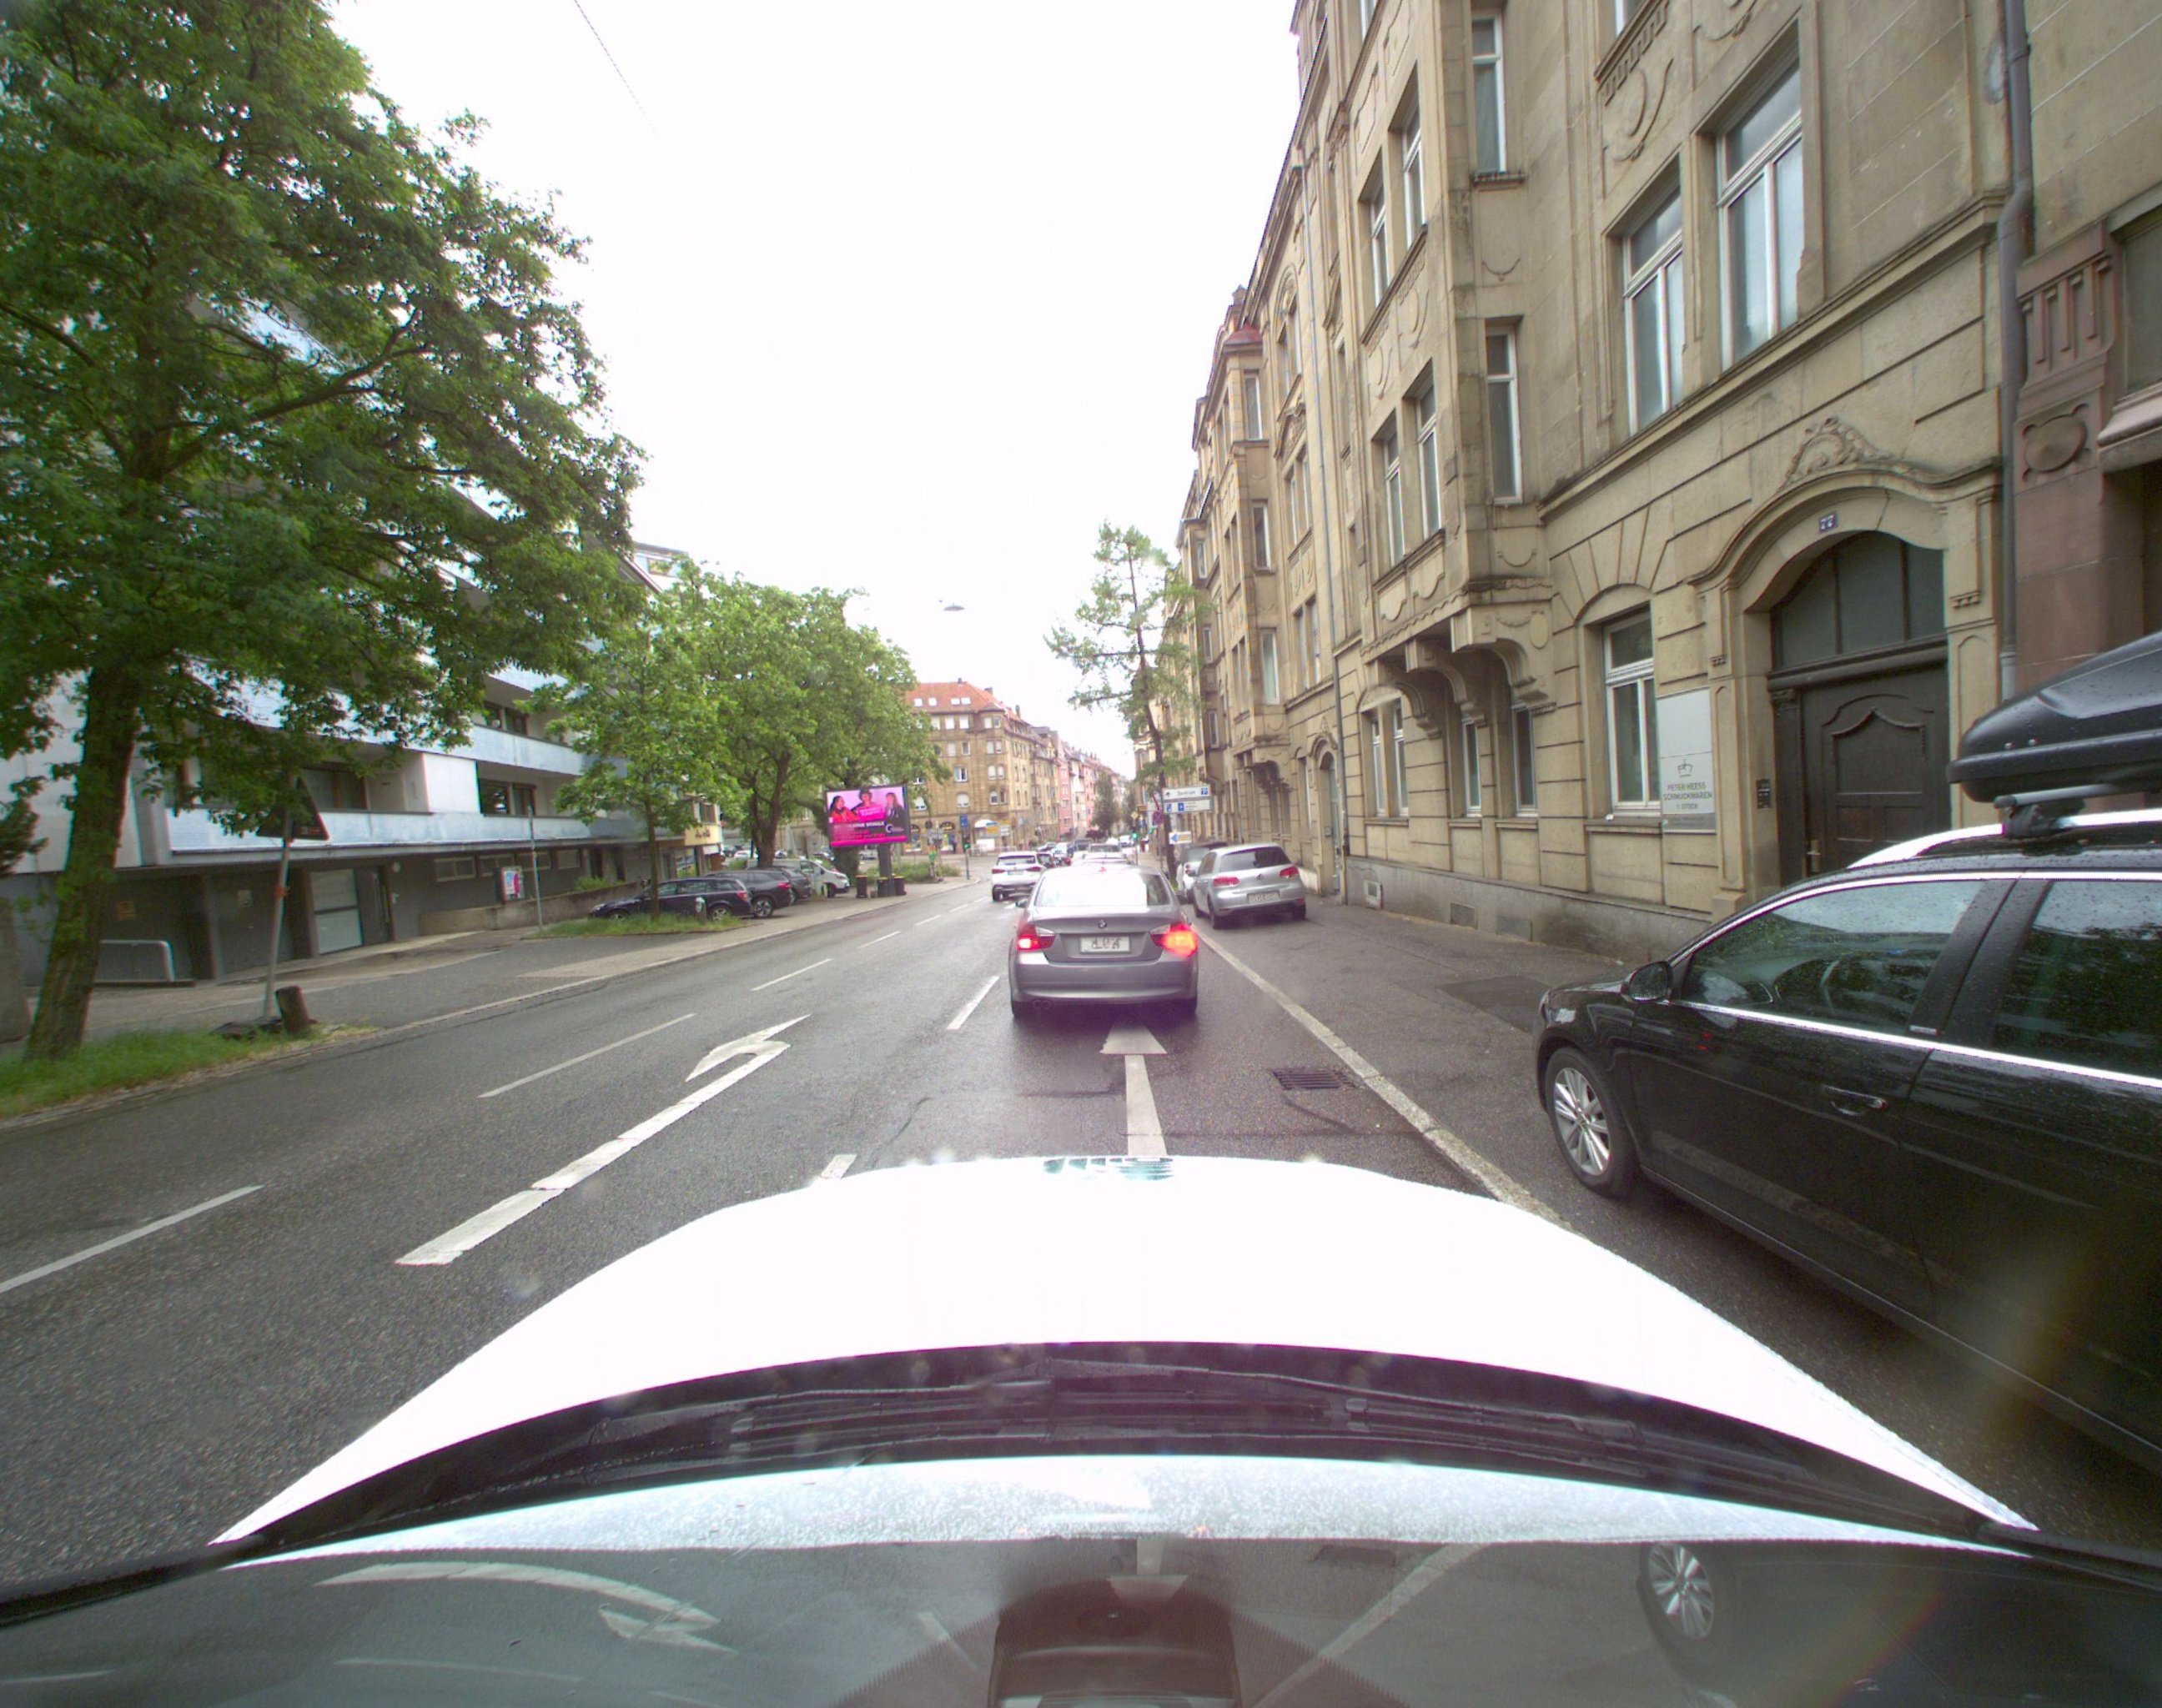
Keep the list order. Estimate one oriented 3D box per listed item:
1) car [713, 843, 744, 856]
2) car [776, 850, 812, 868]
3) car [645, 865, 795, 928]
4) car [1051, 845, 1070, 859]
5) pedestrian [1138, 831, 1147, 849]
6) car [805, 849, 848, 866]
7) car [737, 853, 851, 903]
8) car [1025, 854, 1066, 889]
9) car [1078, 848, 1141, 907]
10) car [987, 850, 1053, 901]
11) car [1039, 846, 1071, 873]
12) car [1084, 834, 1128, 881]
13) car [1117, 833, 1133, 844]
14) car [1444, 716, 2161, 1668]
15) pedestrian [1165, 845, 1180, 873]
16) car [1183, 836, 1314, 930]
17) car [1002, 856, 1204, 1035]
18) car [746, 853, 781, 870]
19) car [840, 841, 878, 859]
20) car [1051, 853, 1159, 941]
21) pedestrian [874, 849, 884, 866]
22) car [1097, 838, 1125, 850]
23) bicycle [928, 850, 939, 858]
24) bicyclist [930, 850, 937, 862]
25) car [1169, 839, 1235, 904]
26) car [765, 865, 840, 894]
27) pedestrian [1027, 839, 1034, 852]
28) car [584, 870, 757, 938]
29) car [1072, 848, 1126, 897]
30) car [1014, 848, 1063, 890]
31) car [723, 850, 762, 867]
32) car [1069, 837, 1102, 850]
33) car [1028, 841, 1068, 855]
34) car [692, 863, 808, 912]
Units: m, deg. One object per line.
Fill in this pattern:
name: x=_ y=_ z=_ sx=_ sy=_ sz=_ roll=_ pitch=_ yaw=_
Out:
car: x=-47.210 y=-0.545 z=109.195 sx=3.949 sy=1.689 sz=1.738 roll=-1 pitch=-1 yaw=29
car: x=-36.466 y=0.616 z=103.434 sx=4.238 sy=2.101 sz=2.013 roll=0 pitch=2 yaw=30
car: x=-11.960 y=1.372 z=27.286 sx=4.382 sy=1.672 sz=1.842 roll=-4 pitch=0 yaw=-21
car: x=-2.174 y=-0.228 z=87.265 sx=1.709 sy=1.450 sz=3.743 roll=-3 pitch=0 yaw=1
pedestrian: x=6.486 y=-1.492 z=85.788 sx=0.740 sy=1.910 sz=0.659 roll=-3 pitch=0 yaw=1
car: x=-27.293 y=0.346 z=87.286 sx=4.194 sy=1.726 sz=2.013 roll=-1 pitch=2 yaw=32
car: x=-14.033 y=1.135 z=40.024 sx=5.076 sy=2.105 sz=1.979 roll=-3 pitch=0 yaw=-19
car: x=-1.862 y=0.907 z=43.454 sx=1.752 sy=1.707 sz=4.003 roll=-2 pitch=0 yaw=3
car: x=0.833 y=0.587 z=22.692 sx=1.588 sy=1.464 sz=4.003 roll=-1 pitch=0 yaw=3
car: x=-2.074 y=0.703 z=28.775 sx=1.861 sy=1.625 sz=4.001 roll=-2 pitch=0 yaw=1
car: x=-1.737 y=0.364 z=55.869 sx=1.752 sy=1.707 sz=4.003 roll=-2 pitch=0 yaw=3
car: x=1.209 y=0.163 z=39.301 sx=1.986 sy=2.106 sz=4.002 roll=-2 pitch=0 yaw=2
car: x=6.539 y=-2.271 z=120.280 sx=1.983 sy=1.578 sz=4.008 roll=0 pitch=-1 yaw=7
car: x=2.687 y=0.492 z=1.975 sx=1.753 sy=1.651 sz=4.101 roll=-7 pitch=0 yaw=2
pedestrian: x=5.335 y=0.283 z=47.375 sx=0.629 sy=1.508 sz=0.693 roll=-7 pitch=0 yaw=1
car: x=3.201 y=0.501 z=16.380 sx=1.753 sy=1.451 sz=4.001 roll=-7 pitch=0 yaw=1
car: x=0.271 y=0.760 z=8.506 sx=1.617 sy=1.383 sz=3.618 roll=-2 pitch=0 yaw=3
car: x=-41.433 y=0.932 z=106.180 sx=4.238 sy=2.101 sz=2.013 roll=0 pitch=2 yaw=30
car: x=-26.557 y=-0.461 z=97.458 sx=4.238 sy=2.101 sz=2.013 roll=0 pitch=2 yaw=30
car: x=0.502 y=0.709 z=15.505 sx=1.752 sy=1.383 sz=4.003 roll=-2 pitch=0 yaw=3
pedestrian: x=-20.197 y=0.357 z=81.397 sx=0.532 sy=1.577 sz=0.722 roll=-4 pitch=0 yaw=14
car: x=4.021 y=-1.321 z=109.087 sx=1.974 sy=1.578 sz=4.025 roll=-1 pitch=-1 yaw=34
bicycle: x=-16.238 y=0.044 z=89.512 sx=0.569 sy=0.858 sz=1.528 roll=-1 pitch=-1 yaw=14
bicyclist: x=-16.225 y=0.208 z=89.635 sx=0.565 sy=1.273 sz=0.692 roll=-1 pitch=-1 yaw=14
car: x=3.300 y=0.442 z=22.644 sx=1.295 sy=1.543 sz=2.977 roll=-7 pitch=0 yaw=1
car: x=-16.219 y=1.448 z=47.564 sx=3.985 sy=1.450 sz=1.758 roll=-3 pitch=0 yaw=-19
pedestrian: x=-6.273 y=-1.043 z=101.482 sx=0.727 sy=1.577 sz=0.530 roll=-3 pitch=0 yaw=10
car: x=-12.218 y=1.434 z=24.567 sx=4.373 sy=1.574 sz=1.930 roll=-4 pitch=0 yaw=-21
car: x=0.703 y=0.585 z=28.869 sx=1.752 sy=1.567 sz=4.003 roll=-2 pitch=0 yaw=3
car: x=-1.846 y=0.628 z=36.543 sx=1.752 sy=1.707 sz=4.003 roll=-2 pitch=0 yaw=3
car: x=-39.238 y=0.486 z=94.356 sx=4.195 sy=1.726 sz=2.013 roll=-2 pitch=3 yaw=31
car: x=0.753 y=-1.671 z=130.073 sx=5.158 sy=2.014 sz=2.699 roll=0 pitch=-1 yaw=1
car: x=-4.030 y=-0.717 z=99.045 sx=4.680 sy=1.578 sz=1.976 roll=0 pitch=-1 yaw=-42
car: x=-13.939 y=1.372 z=34.543 sx=4.370 sy=1.784 sz=1.927 roll=-3 pitch=0 yaw=-19
